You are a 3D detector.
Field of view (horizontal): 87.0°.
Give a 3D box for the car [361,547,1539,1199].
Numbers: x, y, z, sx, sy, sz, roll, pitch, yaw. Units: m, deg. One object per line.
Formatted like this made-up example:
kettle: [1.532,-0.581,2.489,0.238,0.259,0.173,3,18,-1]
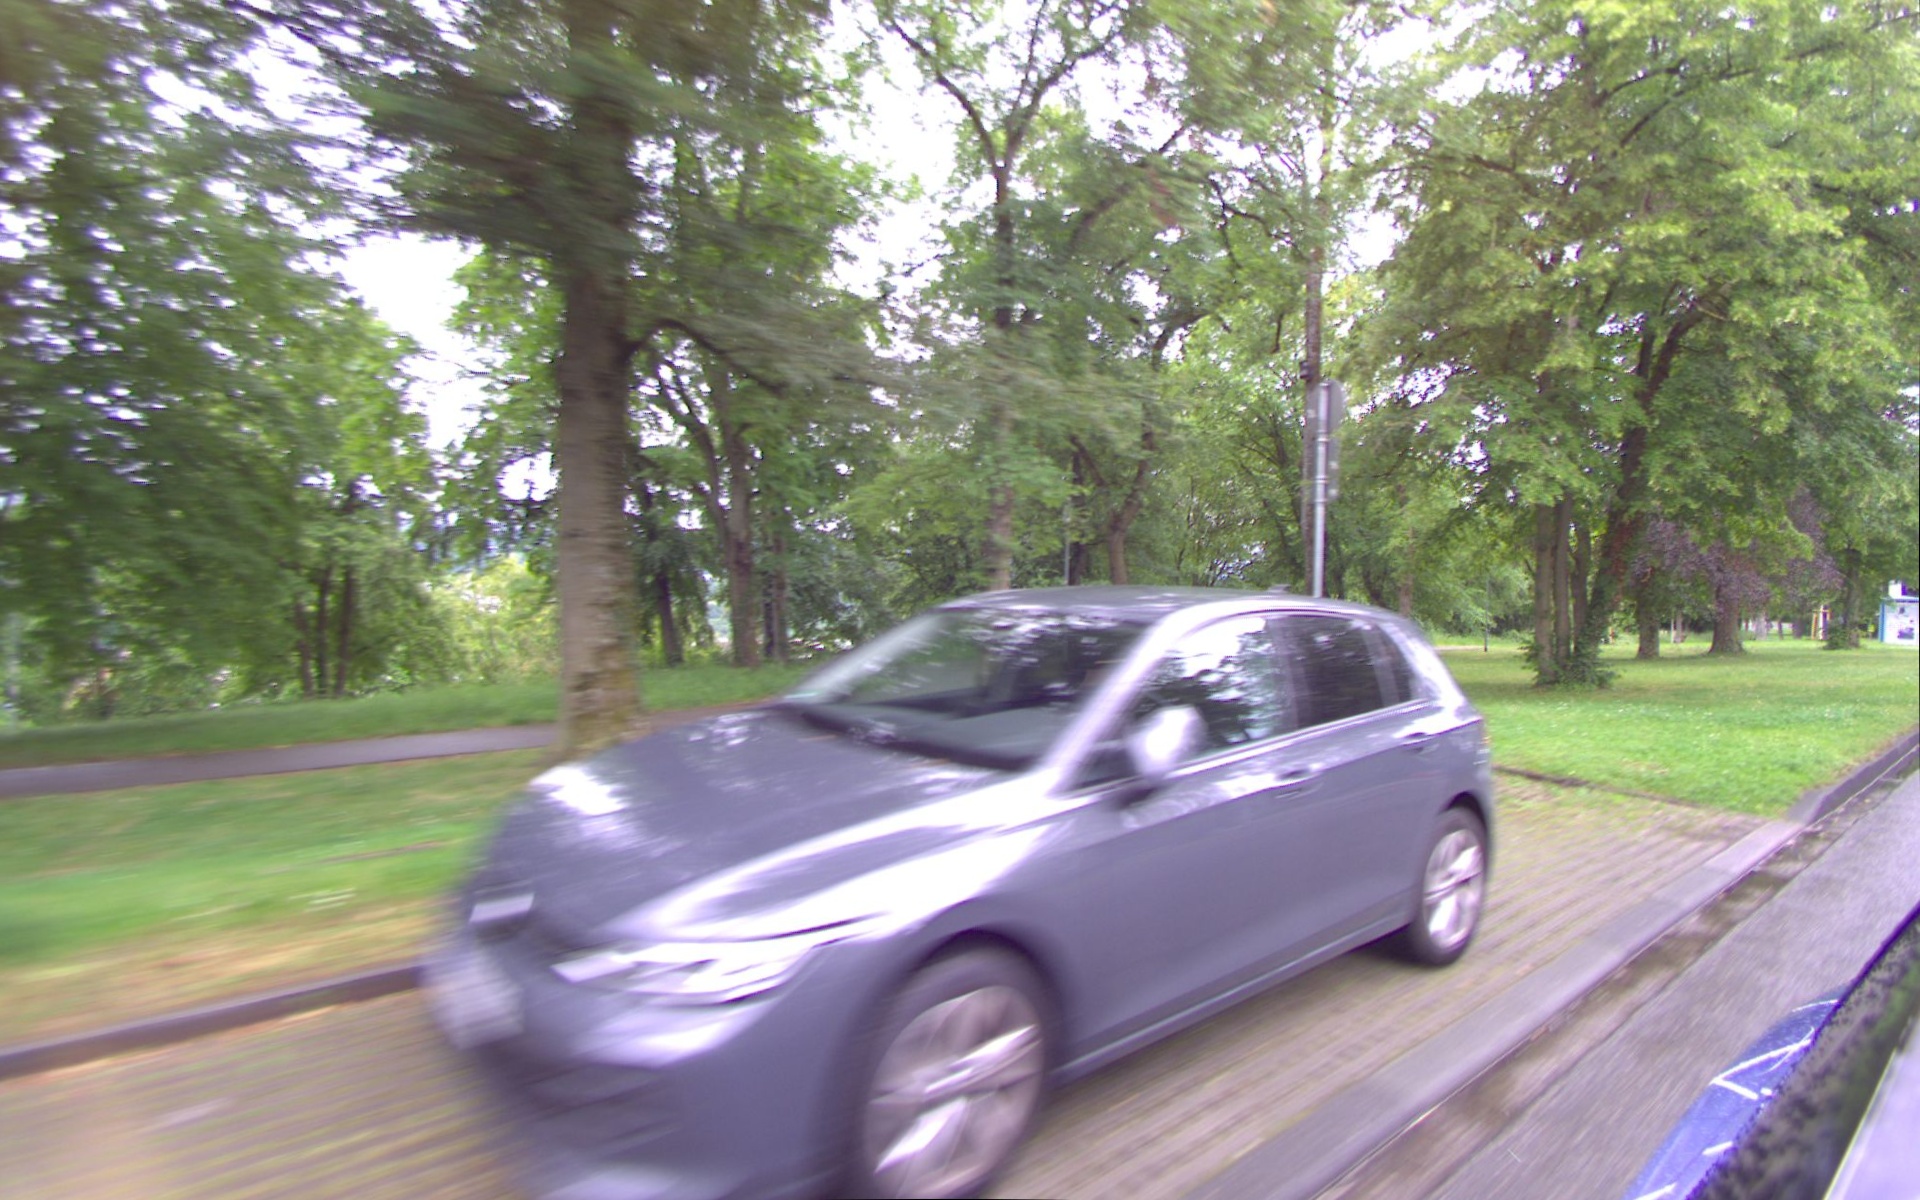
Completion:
car: [0.363,0.623,3.677,4.143,1.479,1.704,0,2,-41]
